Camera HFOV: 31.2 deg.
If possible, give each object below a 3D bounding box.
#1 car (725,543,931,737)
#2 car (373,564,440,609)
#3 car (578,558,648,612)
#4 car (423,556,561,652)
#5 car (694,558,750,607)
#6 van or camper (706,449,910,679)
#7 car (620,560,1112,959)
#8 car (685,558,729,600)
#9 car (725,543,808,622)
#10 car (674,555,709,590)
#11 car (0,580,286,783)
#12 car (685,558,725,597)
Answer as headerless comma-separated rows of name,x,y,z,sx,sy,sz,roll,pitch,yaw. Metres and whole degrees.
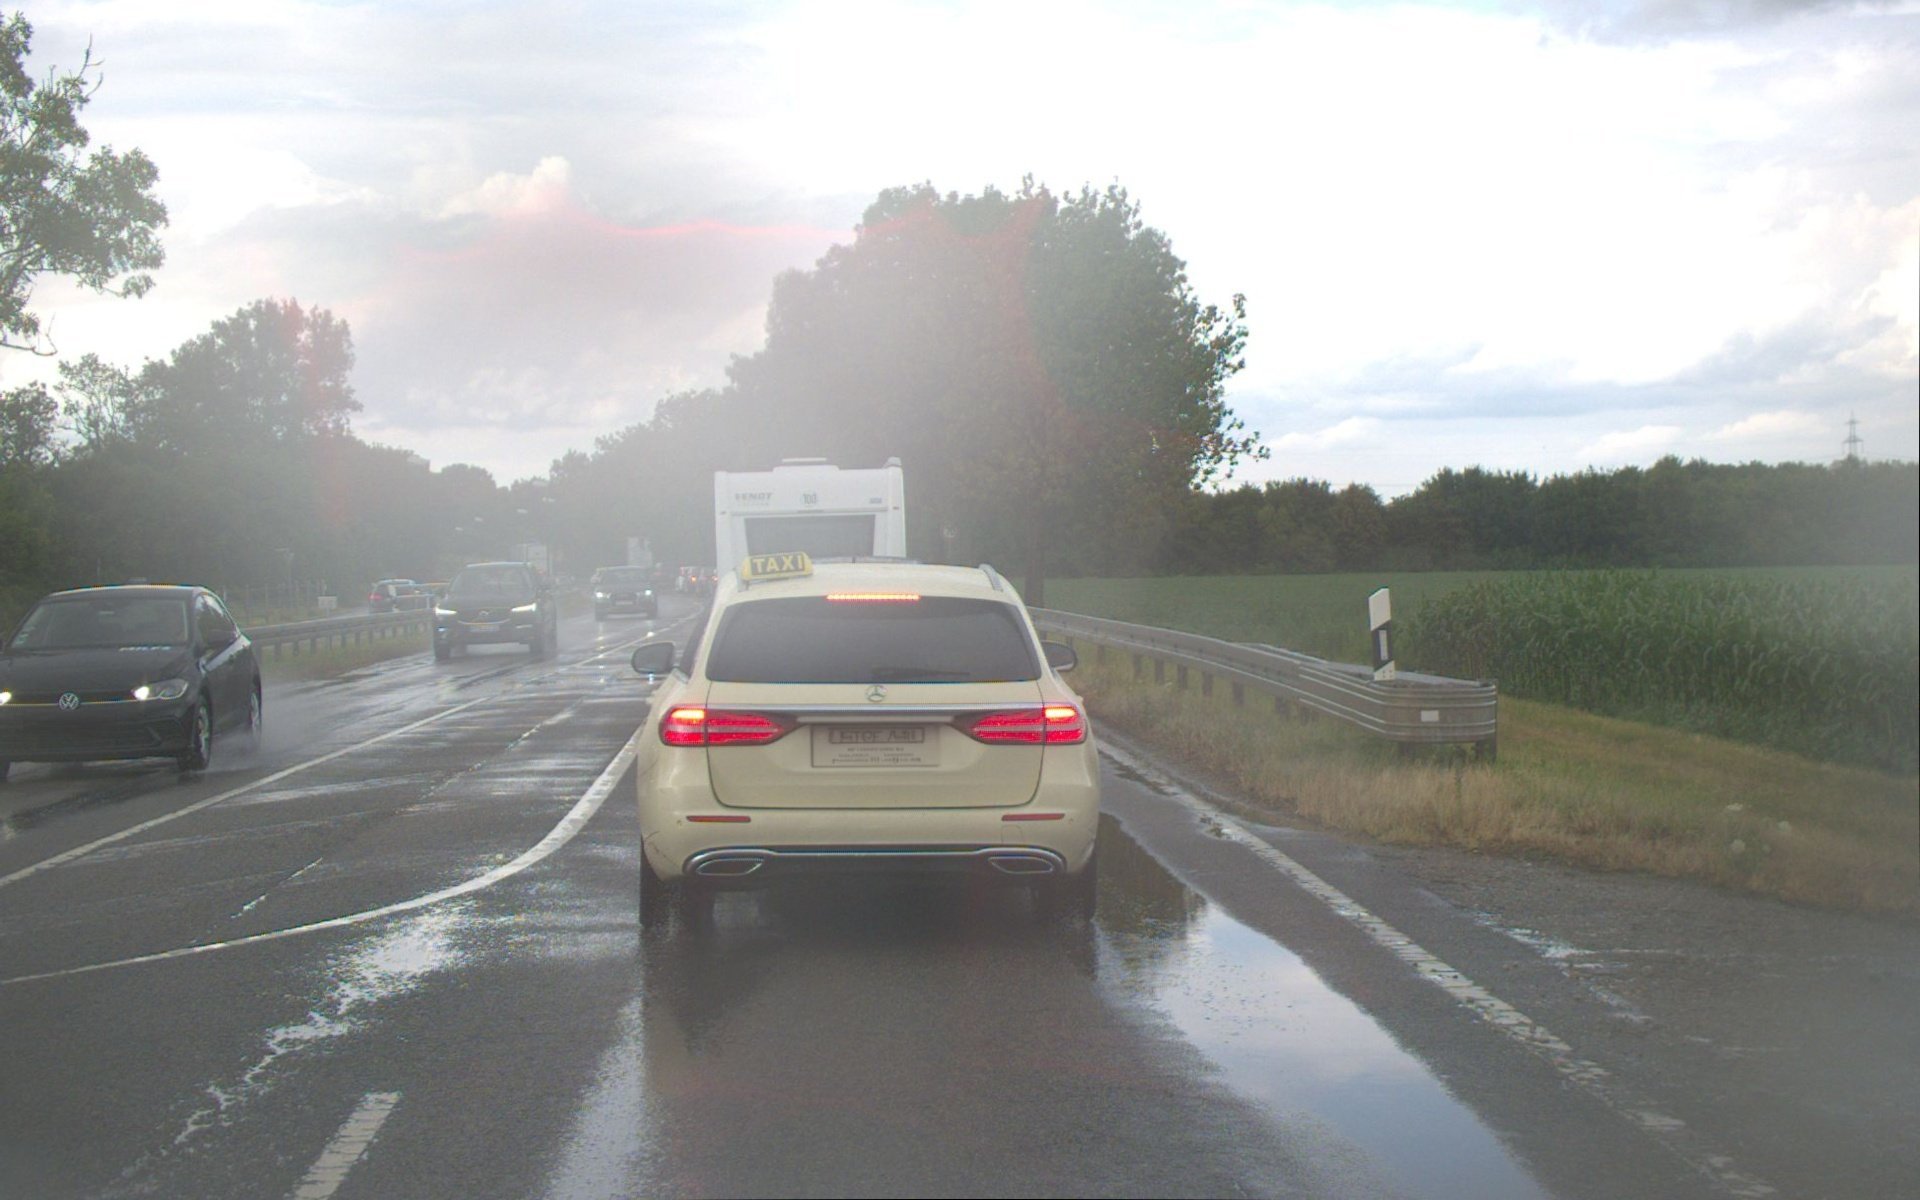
car,-1.150,0.290,29.658,1.627,1.524,3.933,-1,1,-3
car,-21.178,-0.523,131.734,1.993,1.645,4.000,-1,1,-1
car,-10.432,-0.468,103.516,1.768,1.518,4.142,-3,1,-2
car,-8.293,0.044,61.299,1.944,1.575,4.444,-2,1,-2
car,-9.932,-0.739,143.121,1.993,2.007,4.001,-1,1,-8
van or camper,-1.922,-0.480,43.358,2.350,2.671,5.769,-1,1,-3
car,-0.402,0.568,14.842,1.825,1.480,4.145,0,1,-1
car,-12.626,-1.047,171.304,1.993,2.007,4.001,-1,1,-7
car,-5.594,-0.525,100.121,2.246,2.191,5.413,-1,1,-2
car,-15.732,-1.602,201.536,1.993,2.007,4.001,-1,1,-5
car,-6.520,0.589,26.956,1.712,1.401,3.814,-2,1,0
car,-13.669,-1.214,184.562,1.993,2.007,4.001,-1,1,-3
